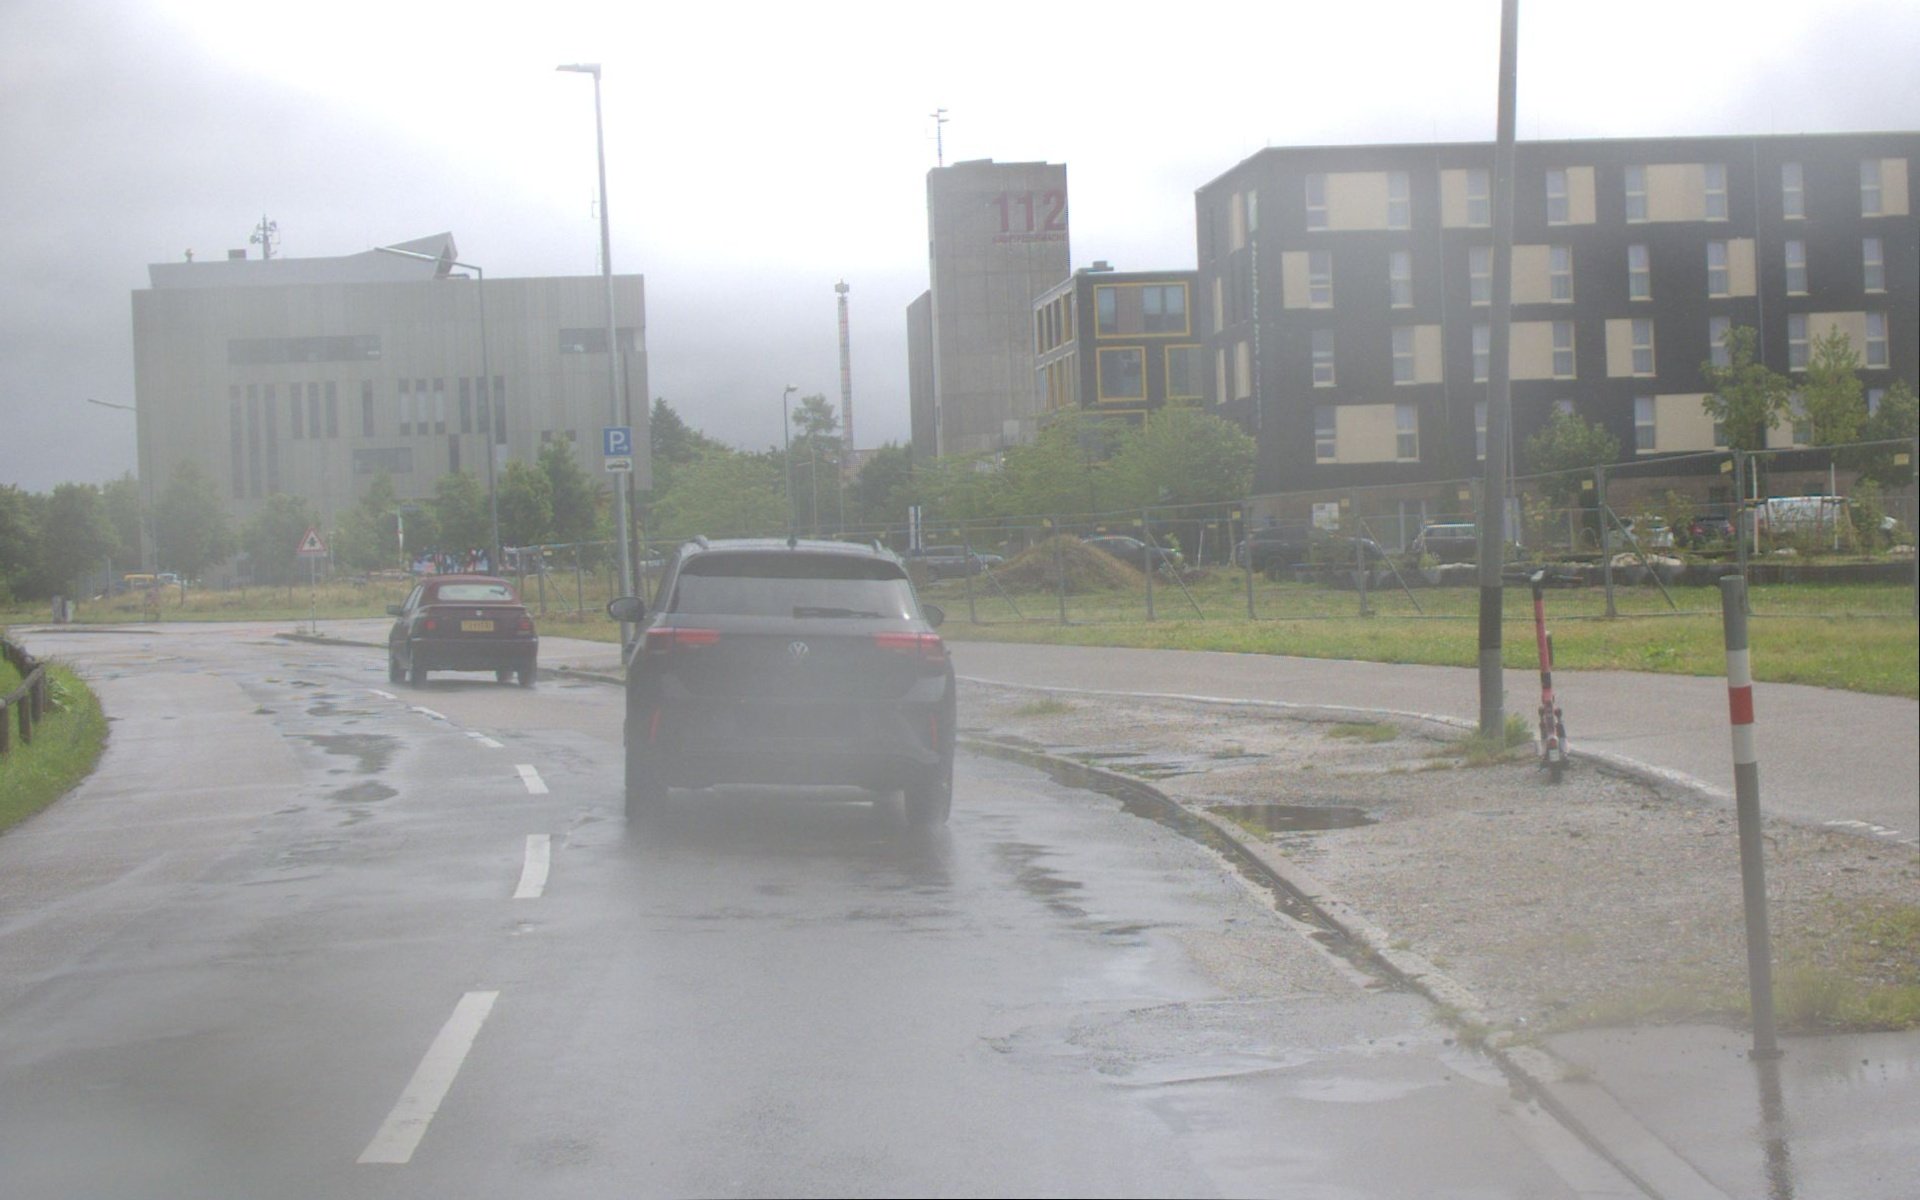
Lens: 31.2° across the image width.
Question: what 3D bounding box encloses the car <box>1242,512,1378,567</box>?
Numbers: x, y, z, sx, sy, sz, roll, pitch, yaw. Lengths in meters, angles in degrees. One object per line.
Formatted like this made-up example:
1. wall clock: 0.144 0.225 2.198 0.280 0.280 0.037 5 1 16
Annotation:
1. car: 11.424 -1.954 112.309 3.986 1.722 2.001 1 0 -10

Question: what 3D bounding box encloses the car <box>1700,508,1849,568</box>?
1. car: 26.995 -2.053 113.960 4.322 1.766 2.000 3 0 -6

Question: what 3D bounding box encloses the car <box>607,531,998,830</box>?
1. car: -0.988 0.398 19.634 1.986 1.515 4.001 1 0 -5

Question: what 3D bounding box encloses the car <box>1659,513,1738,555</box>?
1. car: 26.773 -2.383 124.760 1.638 1.392 3.782 0 0 -7

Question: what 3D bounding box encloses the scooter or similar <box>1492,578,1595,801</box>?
1. scooter or similar: 3.360 0.499 19.847 0.491 1.210 1.340 -2 1 8

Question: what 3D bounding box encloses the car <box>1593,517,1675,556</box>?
1. car: 24.406 -2.290 124.612 1.762 1.390 3.809 1 0 -8

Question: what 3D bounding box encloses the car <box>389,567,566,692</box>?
1. car: -6.477 0.357 45.864 1.841 1.437 4.001 -5 2 -14
